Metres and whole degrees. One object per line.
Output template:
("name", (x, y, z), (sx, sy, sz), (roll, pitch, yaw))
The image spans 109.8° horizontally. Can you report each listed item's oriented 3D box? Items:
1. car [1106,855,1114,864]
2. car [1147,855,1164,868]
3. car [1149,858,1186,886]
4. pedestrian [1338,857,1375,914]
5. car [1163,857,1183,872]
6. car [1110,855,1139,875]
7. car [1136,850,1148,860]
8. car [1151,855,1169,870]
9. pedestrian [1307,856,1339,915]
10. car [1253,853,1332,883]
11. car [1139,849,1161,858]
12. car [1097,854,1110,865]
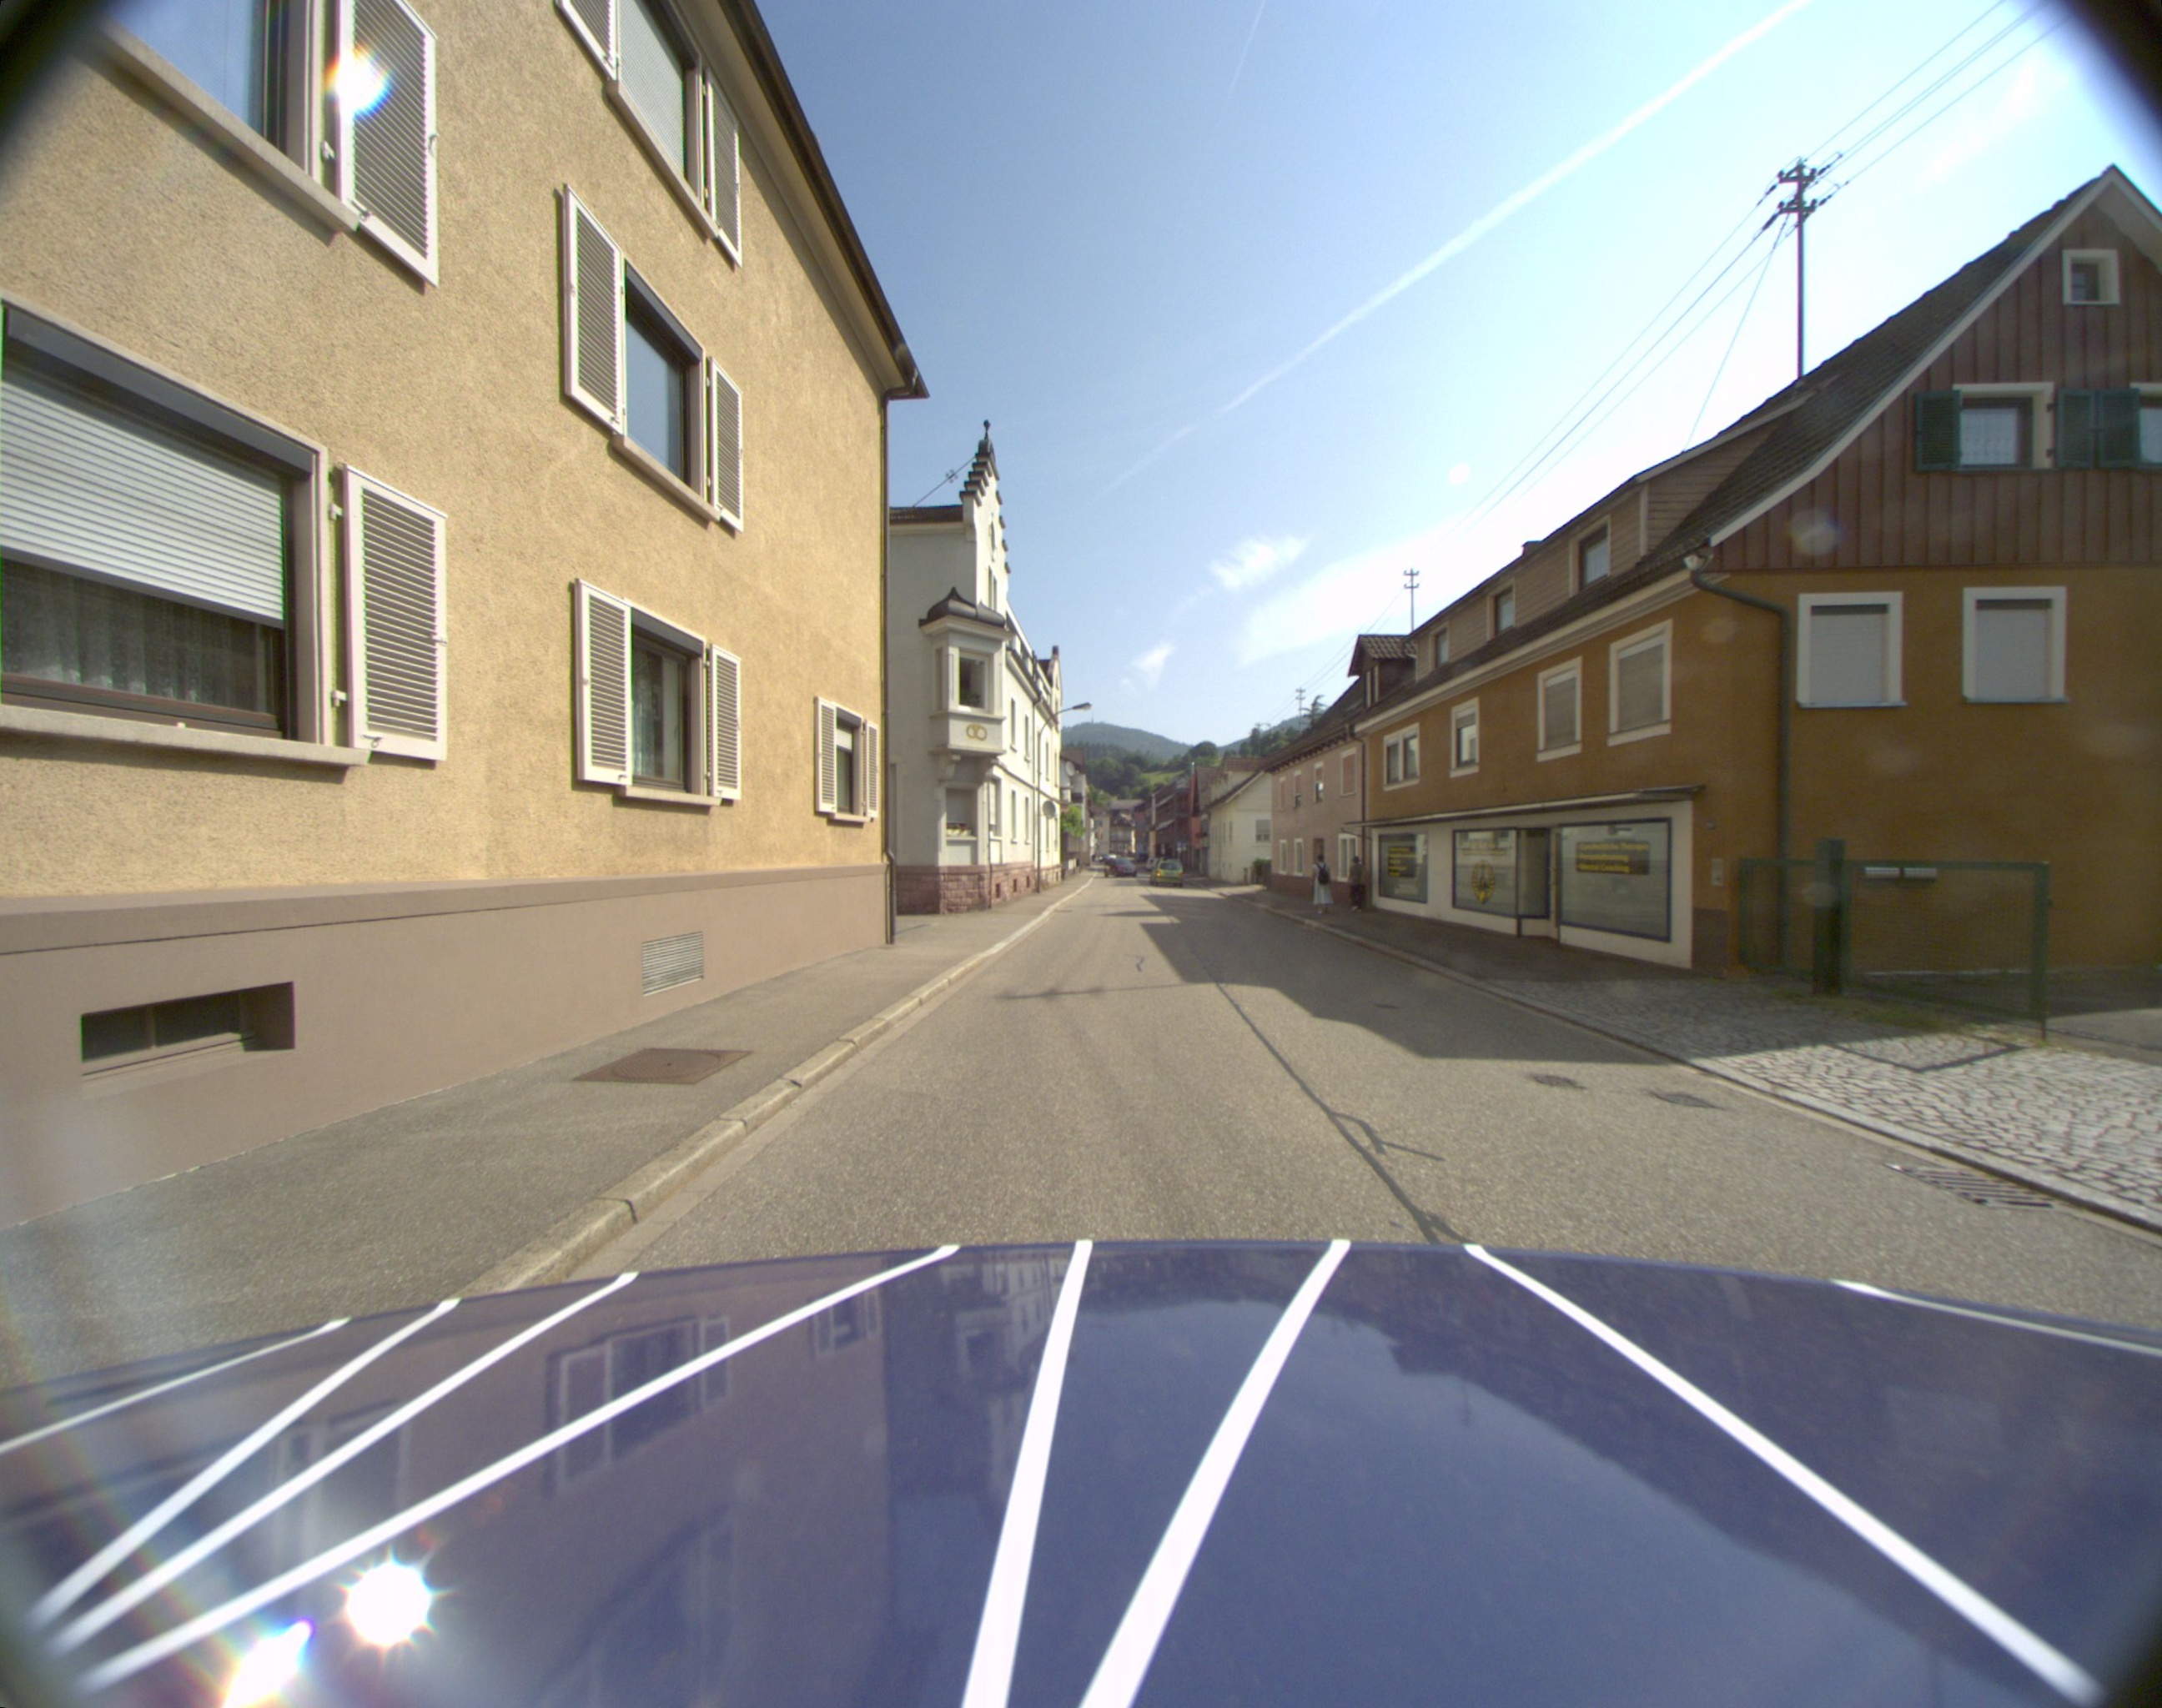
("car", (6.508, 1.134, 169.696), (1.742, 2.002, 3.840), (-1, 0, 2))
("car", (9.126, 0.942, 93.241), (1.678, 1.546, 3.764), (-1, 0, 0))
("car", (5.018, 1.046, 44.710), (1.601, 1.456, 3.659), (3, 0, -1))
("pedestrian", (7.809, 0.886, 21.593), (0.736, 1.555, 0.824), (-2, 0, 3))
("car", (9.123, 1.020, 75.361), (1.670, 1.423, 3.569), (-2, -1, 3))
("car", (3.627, 0.949, 63.868), (1.823, 1.652, 3.999), (0, -1, -5))
("car", (10.752, 0.203, 134.855), (1.786, 1.566, 3.888), (-3, 0, 1))
("car", (9.010, 0.967, 86.697), (1.679, 1.580, 3.949), (-1, 0, 0))
("pedestrian", (6.821, 0.883, 21.425), (0.641, 1.617, 0.777), (-2, 0, 4))
("car", (12.035, 0.792, 43.416), (3.997, 1.584, 1.907), (-1, 0, 0))
("car", (13.019, -0.113, 143.450), (3.999, 1.673, 1.834), (0, -1, -7))
("car", (4.164, 0.992, 139.357), (1.999, 2.002, 3.998), (-1, 1, -4))
